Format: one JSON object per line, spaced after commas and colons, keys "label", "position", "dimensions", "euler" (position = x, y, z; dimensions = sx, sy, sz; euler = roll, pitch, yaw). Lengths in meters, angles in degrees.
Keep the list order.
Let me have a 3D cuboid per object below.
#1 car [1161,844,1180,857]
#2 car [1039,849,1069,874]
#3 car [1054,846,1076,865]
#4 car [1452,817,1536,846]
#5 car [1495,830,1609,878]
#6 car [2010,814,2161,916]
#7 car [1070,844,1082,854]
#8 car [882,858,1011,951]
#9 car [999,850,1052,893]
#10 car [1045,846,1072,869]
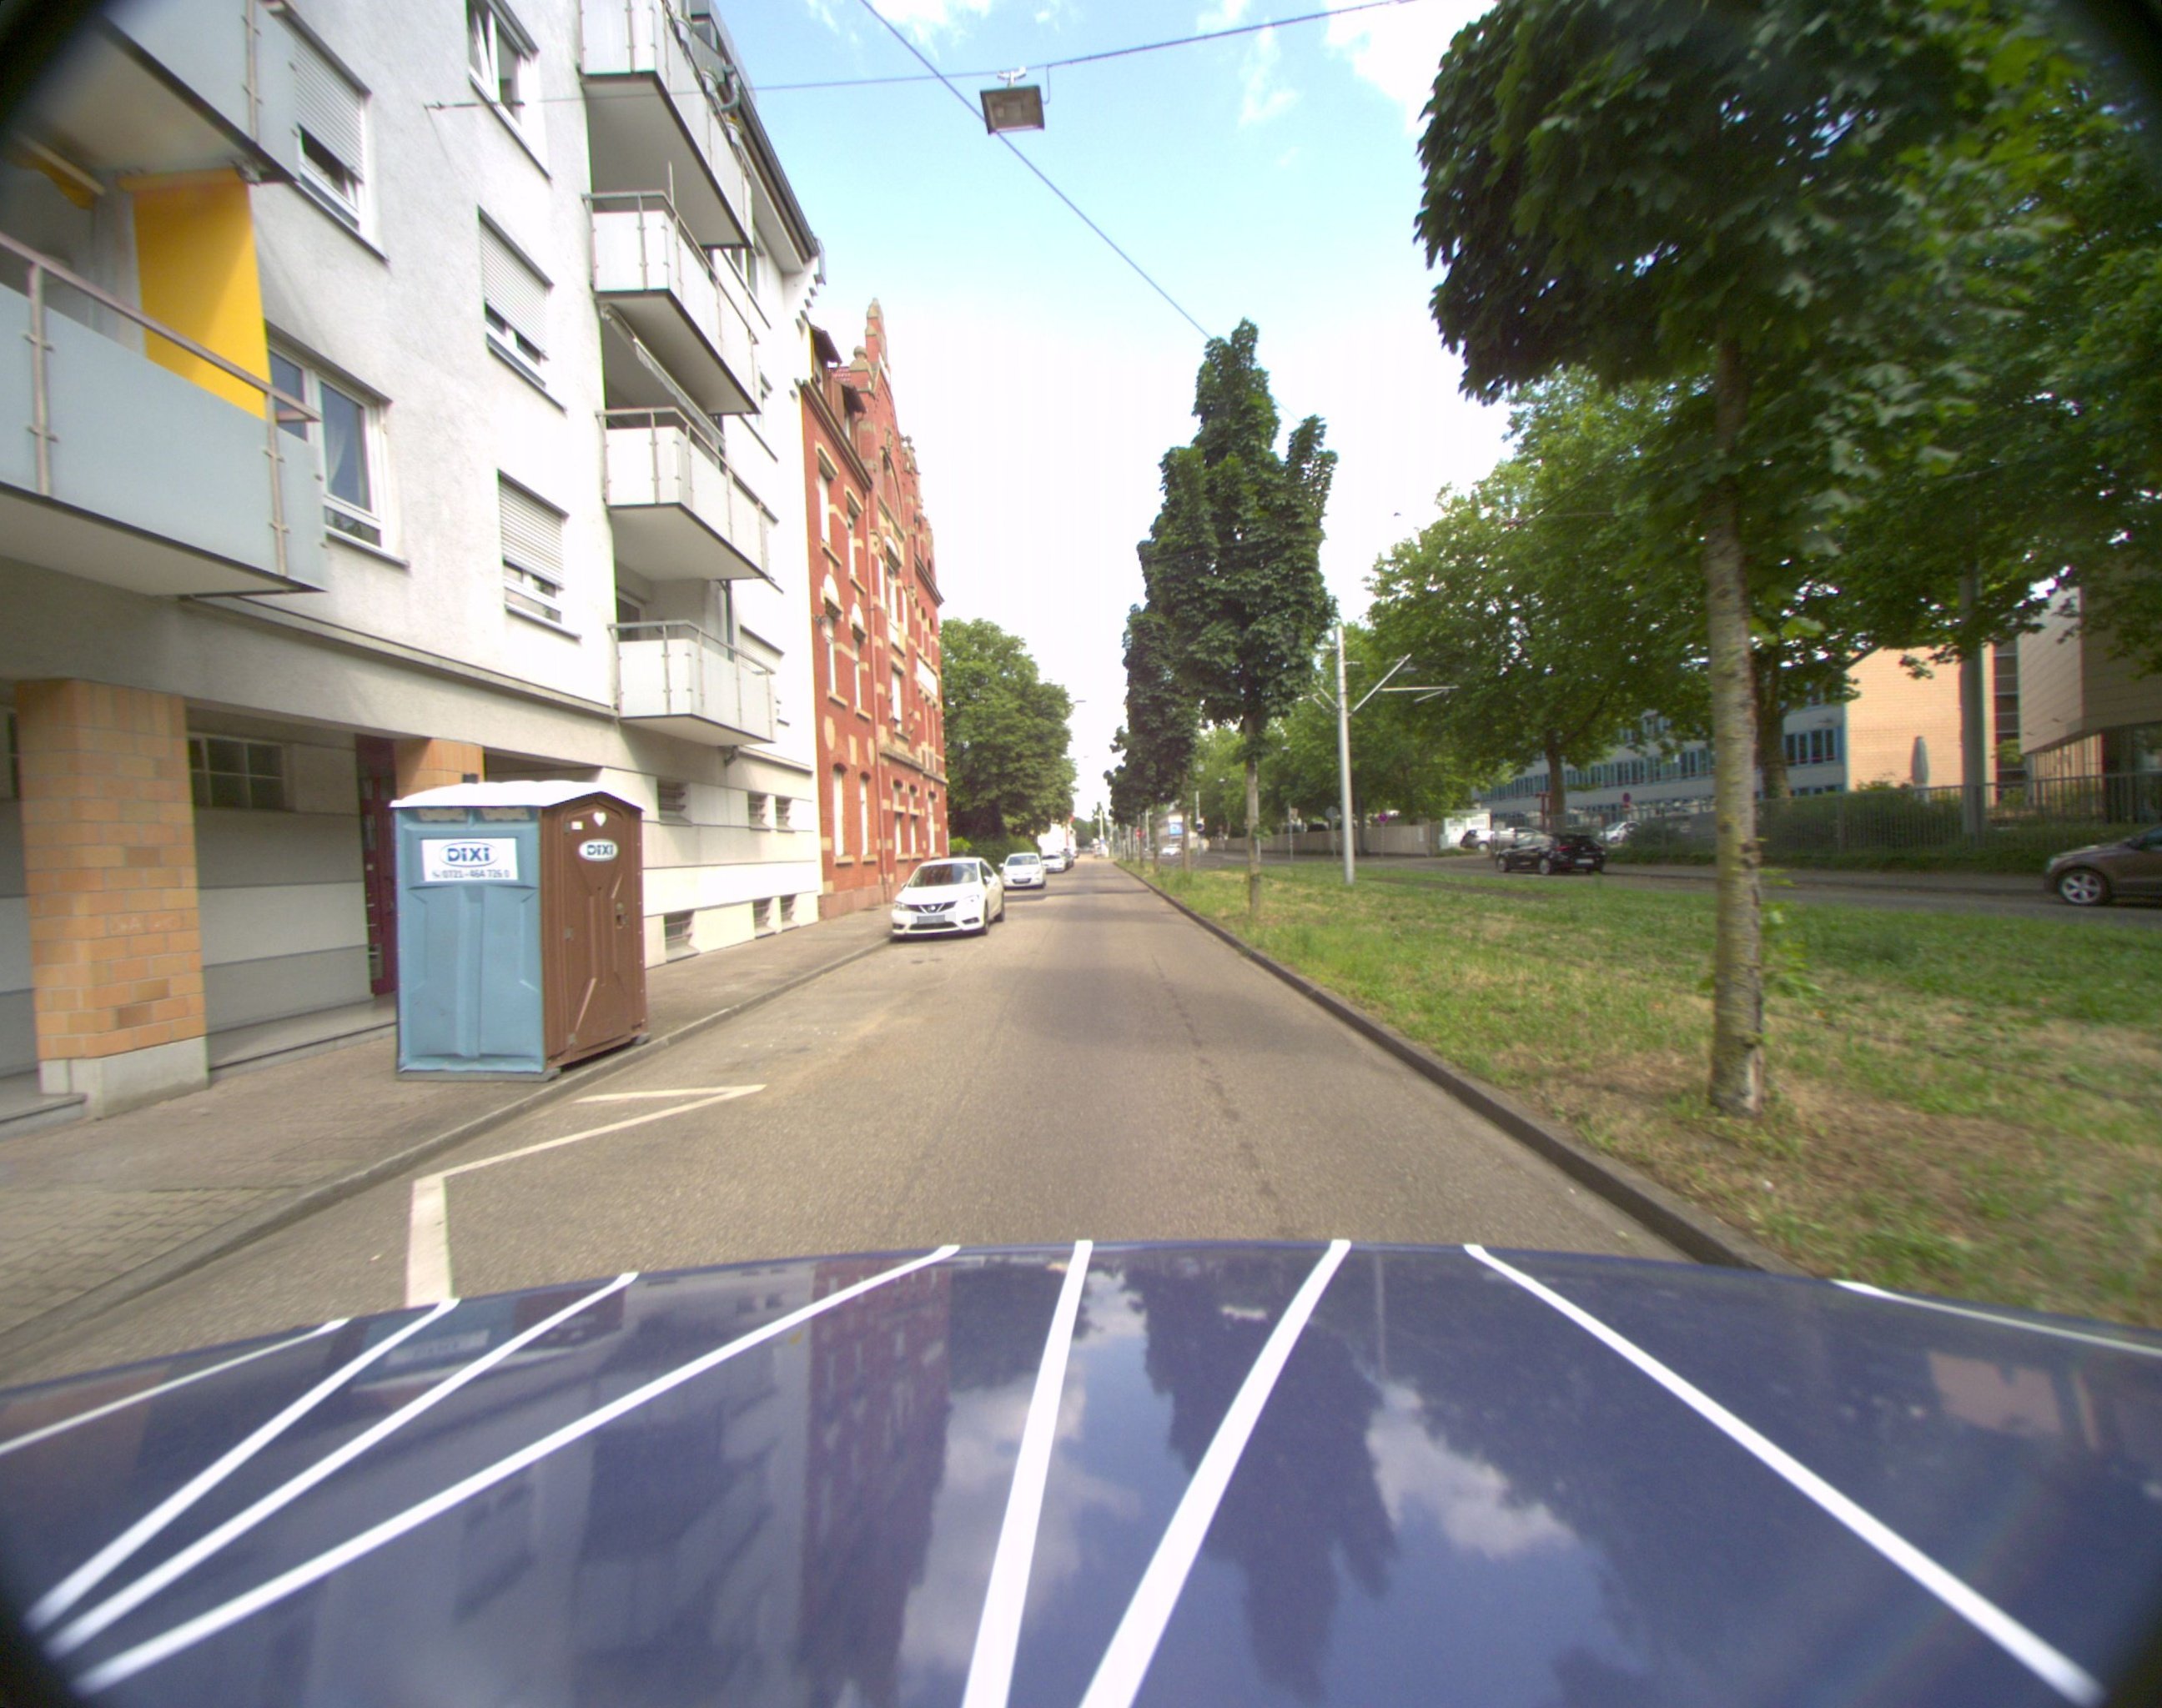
{"label": "car", "position": [12.040, -0.517, 101.665], "dimensions": [1.799, 1.521, 4.045], "euler": [-3, 1, 17]}
{"label": "car", "position": [-1.841, 0.465, 53.409], "dimensions": [1.801, 1.521, 4.040], "euler": [-5, 1, 1]}
{"label": "car", "position": [-1.435, 0.115, 70.527], "dimensions": [1.801, 1.521, 4.040], "euler": [-5, 1, 1]}
{"label": "car", "position": [25.133, -1.360, 46.332], "dimensions": [3.997, 1.609, 1.999], "euler": [-2, 1, 0]}
{"label": "car", "position": [16.209, -0.029, 26.378], "dimensions": [1.601, 1.455, 4.000], "euler": [-2, 1, 3]}
{"label": "car", "position": [16.058, 0.134, 10.560], "dimensions": [1.558, 1.417, 3.901], "euler": [-2, 1, 1]}
{"label": "car", "position": [-0.768, -0.809, 128.742], "dimensions": [1.801, 1.521, 4.040], "euler": [-5, 1, 1]}
{"label": "car", "position": [-2.604, 0.918, 15.683], "dimensions": [1.801, 1.521, 4.040], "euler": [-3, 1, 1]}
{"label": "car", "position": [-2.256, 0.675, 31.912], "dimensions": [1.801, 1.521, 4.040], "euler": [-3, 1, 1]}
{"label": "car", "position": [-1.722, 0.238, 59.658], "dimensions": [1.801, 1.521, 4.040], "euler": [-5, 1, 1]}
